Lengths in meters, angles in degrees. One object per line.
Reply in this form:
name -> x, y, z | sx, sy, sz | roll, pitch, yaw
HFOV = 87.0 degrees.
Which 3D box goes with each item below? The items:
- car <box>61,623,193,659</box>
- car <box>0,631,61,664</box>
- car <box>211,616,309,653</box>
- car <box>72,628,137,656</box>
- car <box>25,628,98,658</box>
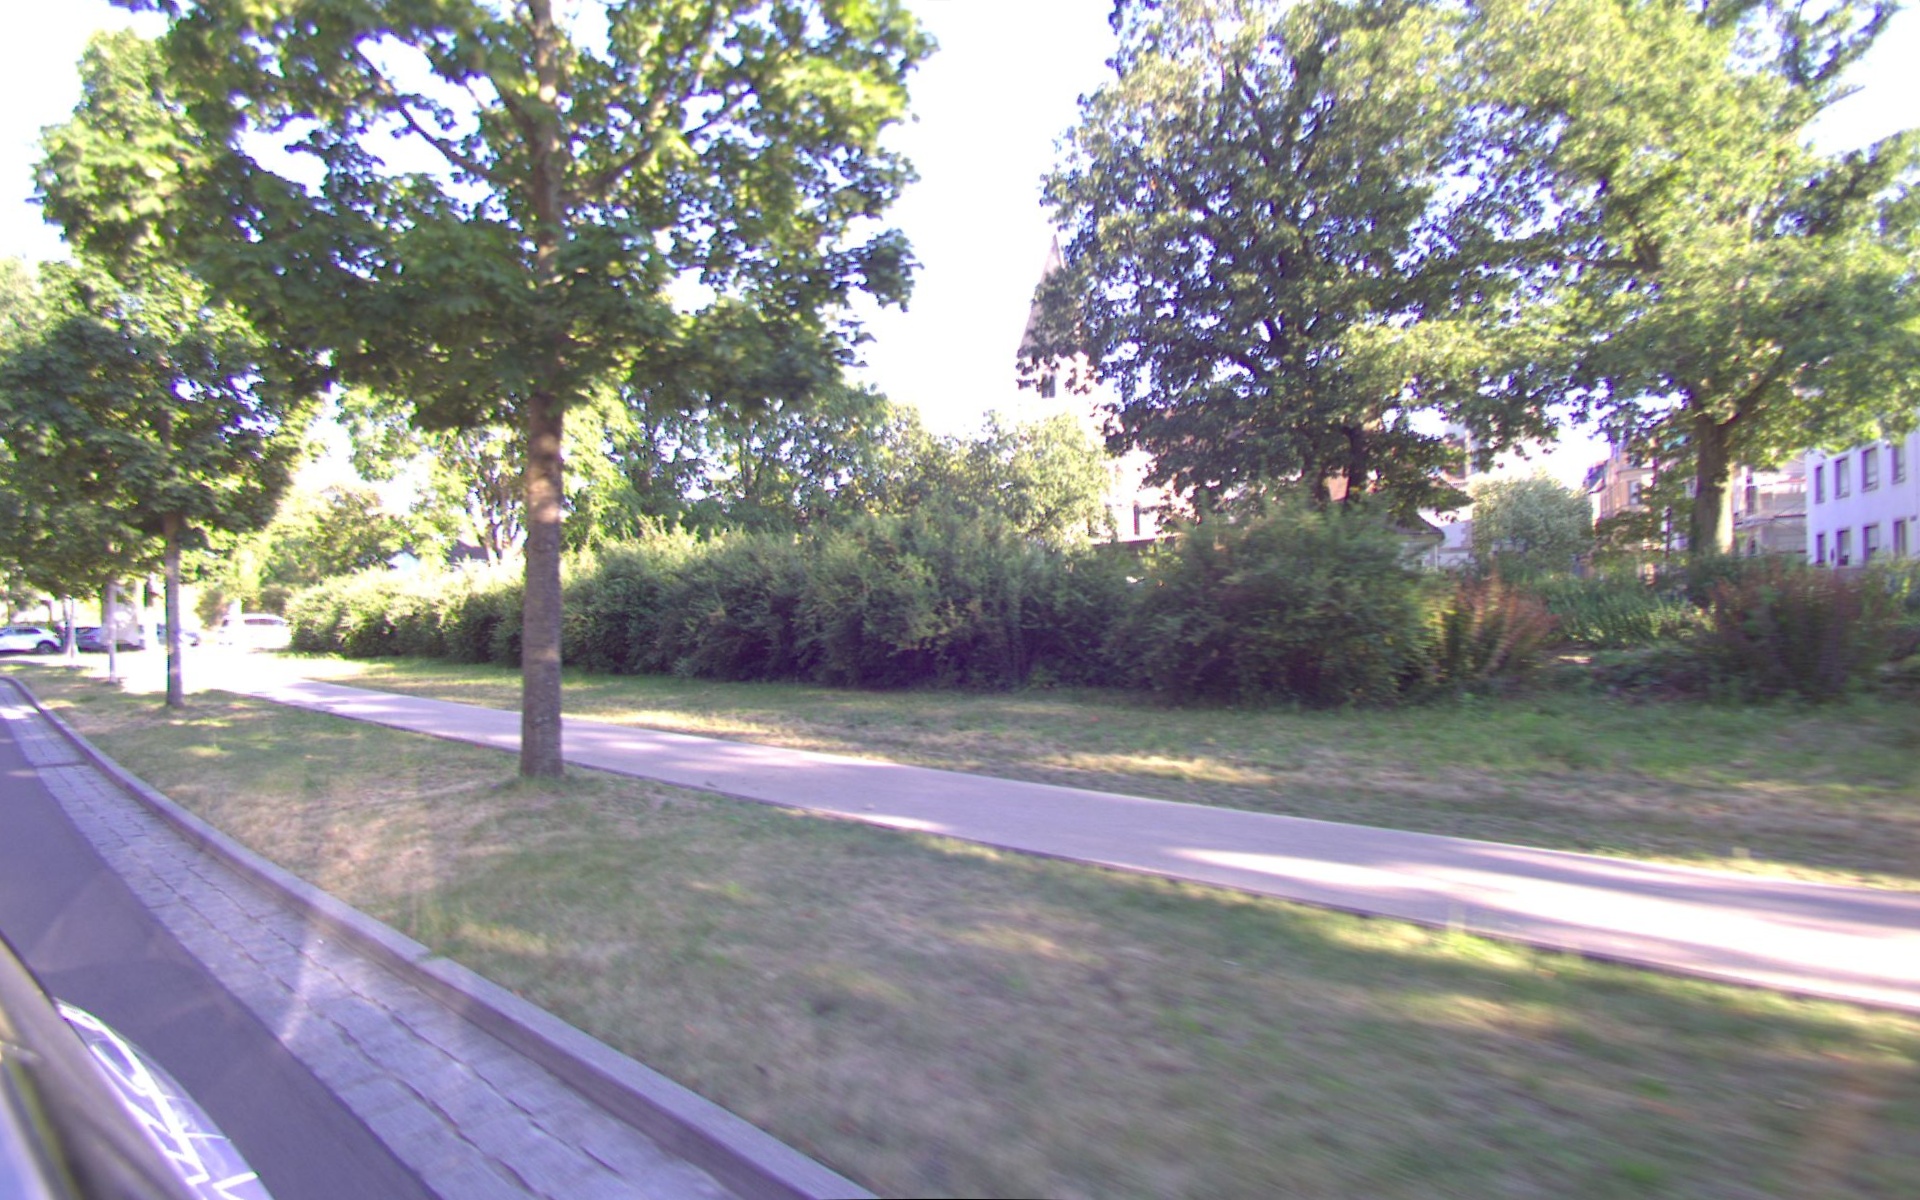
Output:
car -> -41.800, 2.034, 50.923 | 1.858, 1.570, 4.794 | -2, -1, 26
car -> -47.766, 2.417, 50.303 | 1.775, 1.546, 4.304 | -3, -2, 28
car -> -39.178, 1.906, 56.717 | 1.753, 1.931, 4.200 | -2, -1, 26
car -> -49.561, 2.421, 58.636 | 3.337, 1.502, 1.624 | 0, 0, 25
car -> -49.818, 2.345, 56.098 | 3.977, 1.527, 1.632 | 0, 0, 25
